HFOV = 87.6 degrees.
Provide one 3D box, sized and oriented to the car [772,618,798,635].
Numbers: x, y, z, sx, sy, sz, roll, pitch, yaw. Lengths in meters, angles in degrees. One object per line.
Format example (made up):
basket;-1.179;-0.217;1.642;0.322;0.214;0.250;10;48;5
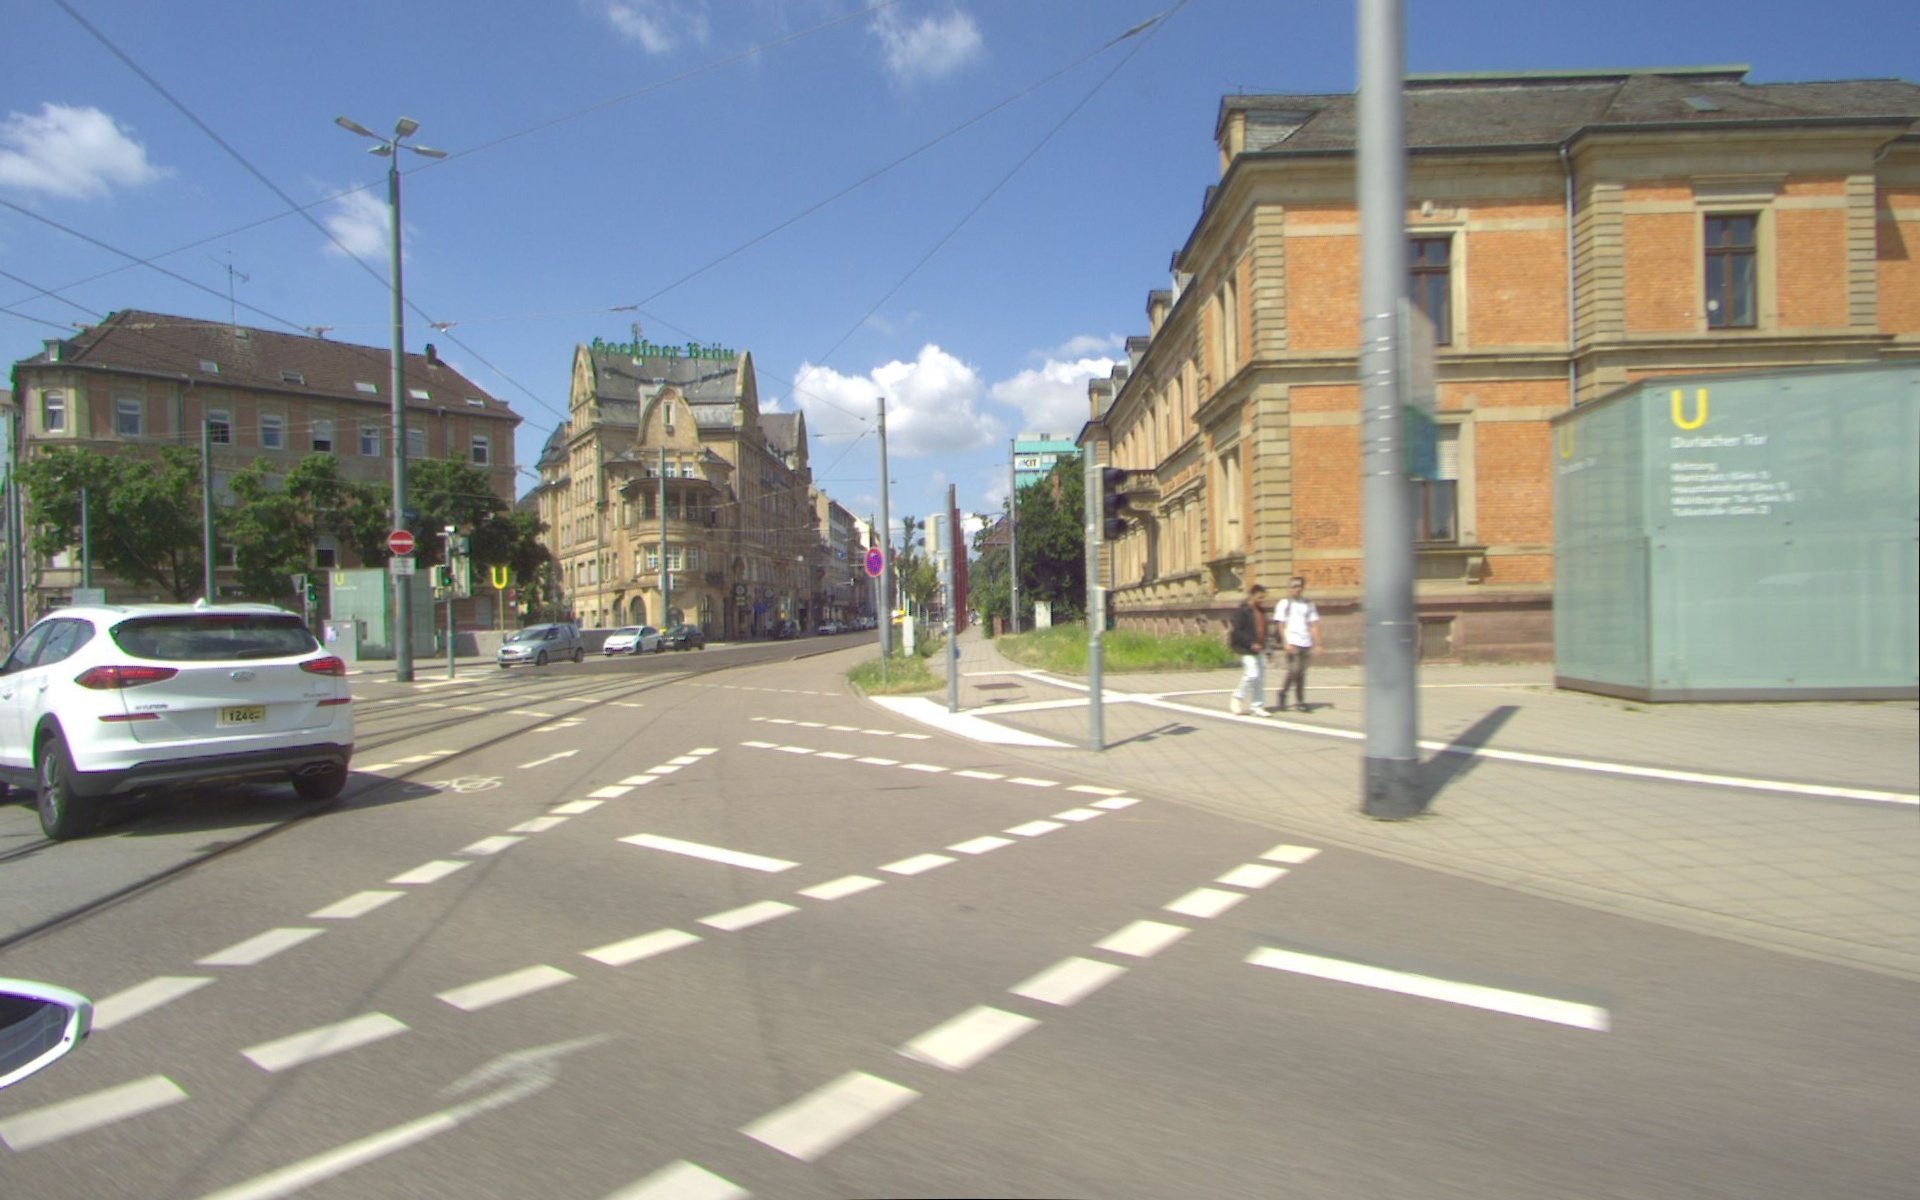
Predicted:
car;-16.158;2.428;92.603;1.690;1.493;4.140;-1;-1;0

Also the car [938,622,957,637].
car;-1.249;2.981;102.041;1.690;1.493;4.140;-1;-1;3

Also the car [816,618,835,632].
car;-15.855;2.938;118.062;1.690;1.493;4.140;-1;-1;0

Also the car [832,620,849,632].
car;-15.494;3.342;129.857;1.690;1.493;4.140;-1;-1;0

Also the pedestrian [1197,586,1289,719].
pedestrian;3.797;0.685;13.507;0.847;1.679;0.966;-3;1;-4

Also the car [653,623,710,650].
car;-16.521;2.148;59.627;1.691;1.493;4.138;-1;-1;9

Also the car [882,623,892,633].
car;-14.416;5.577;198.130;1.690;1.905;4.140;-1;-1;0

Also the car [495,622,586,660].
car;-18.227;1.749;43.734;1.691;1.493;4.138;-1;-1;9

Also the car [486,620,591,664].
car;-15.920;1.558;38.068;1.691;1.493;4.138;-1;-1;9

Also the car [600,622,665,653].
car;-17.342;1.951;53.234;1.690;1.493;4.139;-1;-1;6

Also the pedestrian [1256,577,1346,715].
pedestrian;4.628;0.604;13.634;0.847;1.775;0.757;-3;1;-4

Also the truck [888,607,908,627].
truck;-9.605;2.628;155.335;2.513;2.966;7.111;-1;-1;0

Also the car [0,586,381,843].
car;-6.865;0.795;8.486;4.178;1.663;1.875;-2;-1;36

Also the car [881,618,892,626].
car;-14.033;4.267;191.597;1.690;1.493;4.140;-1;-1;0

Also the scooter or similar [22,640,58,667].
scooter or similar;-41.730;2.430;45.418;0.375;1.189;1.522;-2;-2;-8

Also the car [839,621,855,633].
car;-15.360;3.640;136.112;1.690;1.493;4.140;-1;-1;0
